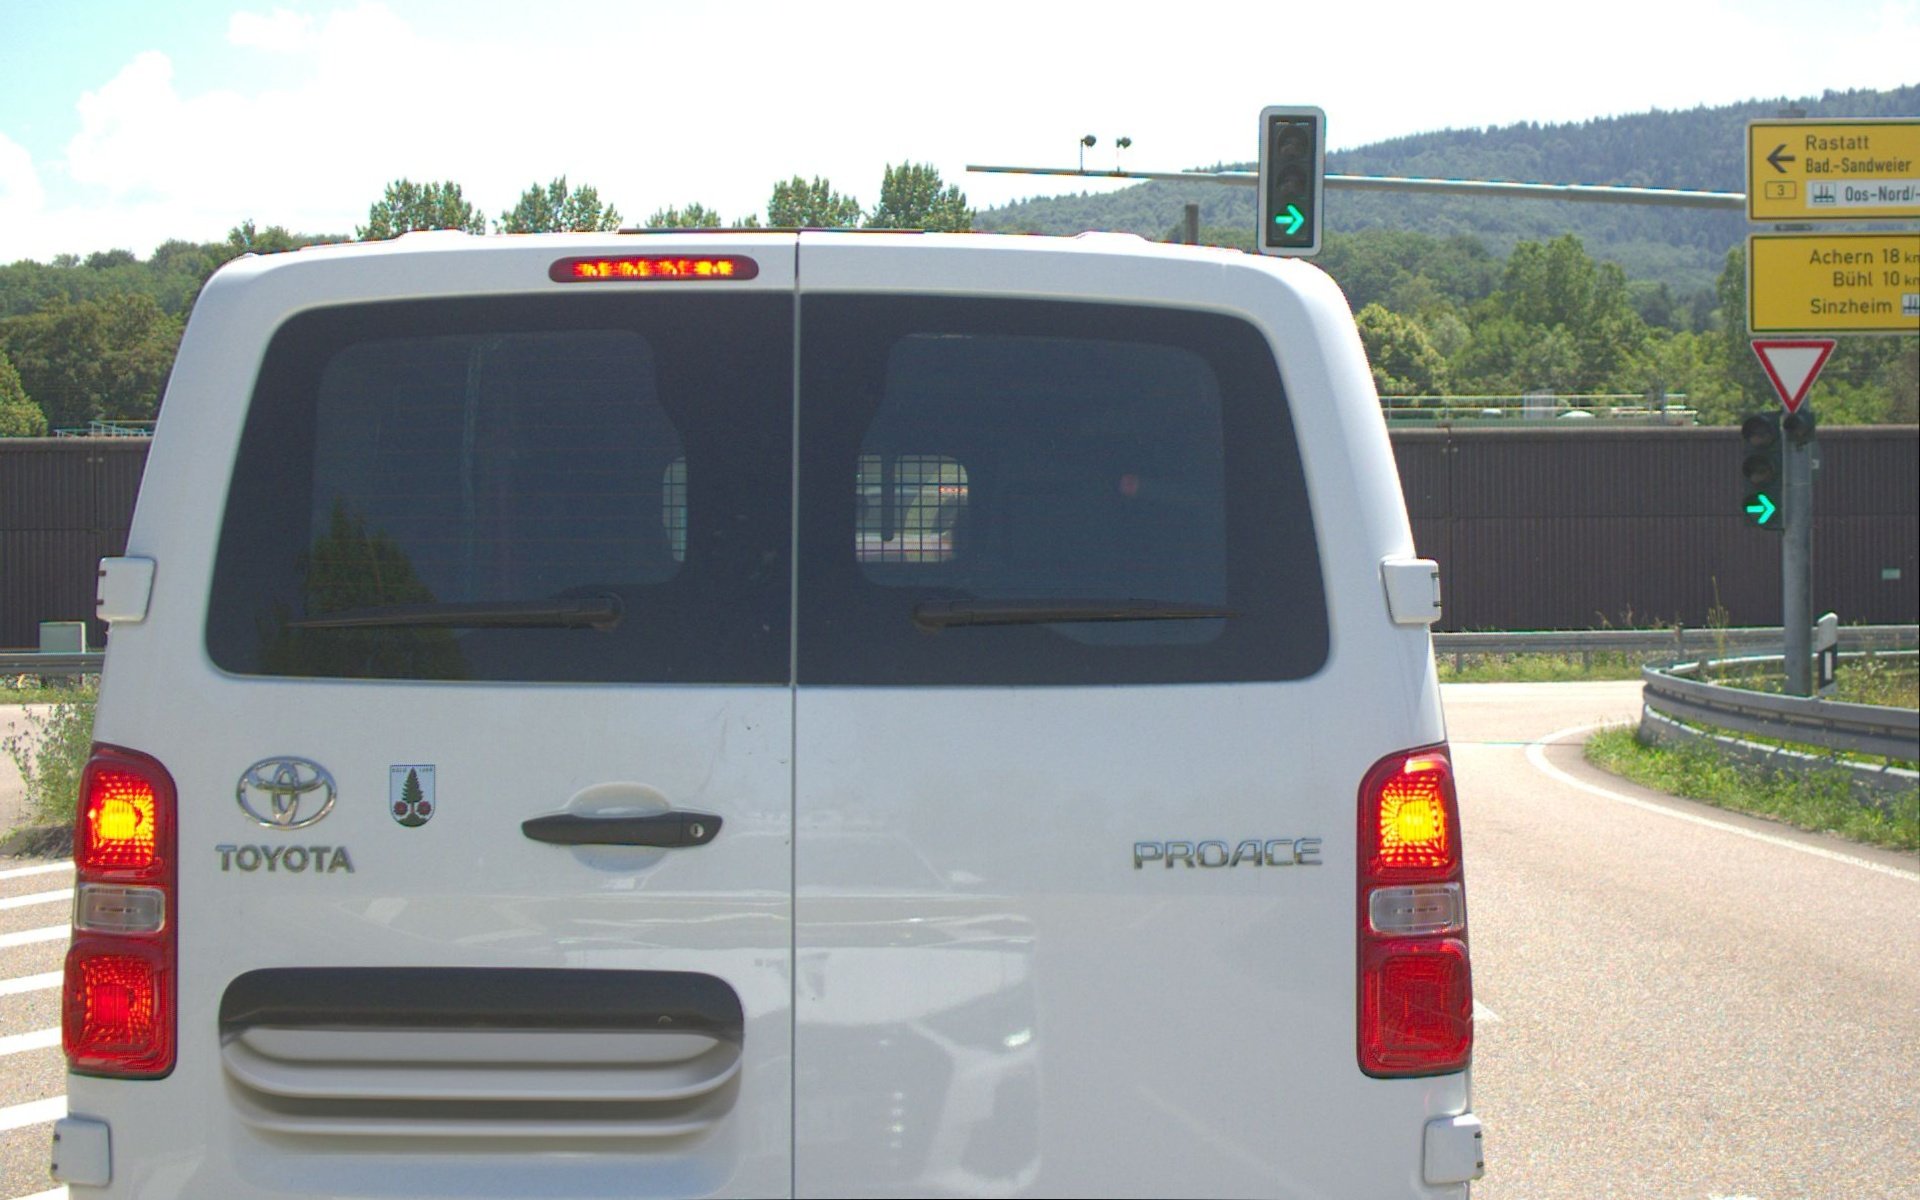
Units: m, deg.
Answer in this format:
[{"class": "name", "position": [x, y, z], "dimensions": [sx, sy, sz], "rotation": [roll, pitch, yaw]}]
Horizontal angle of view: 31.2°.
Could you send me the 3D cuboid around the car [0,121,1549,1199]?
[{"class": "car", "position": [-0.258, 0.440, 5.947], "dimensions": [1.814, 2.011, 4.000], "rotation": [0, 1, -1]}]
